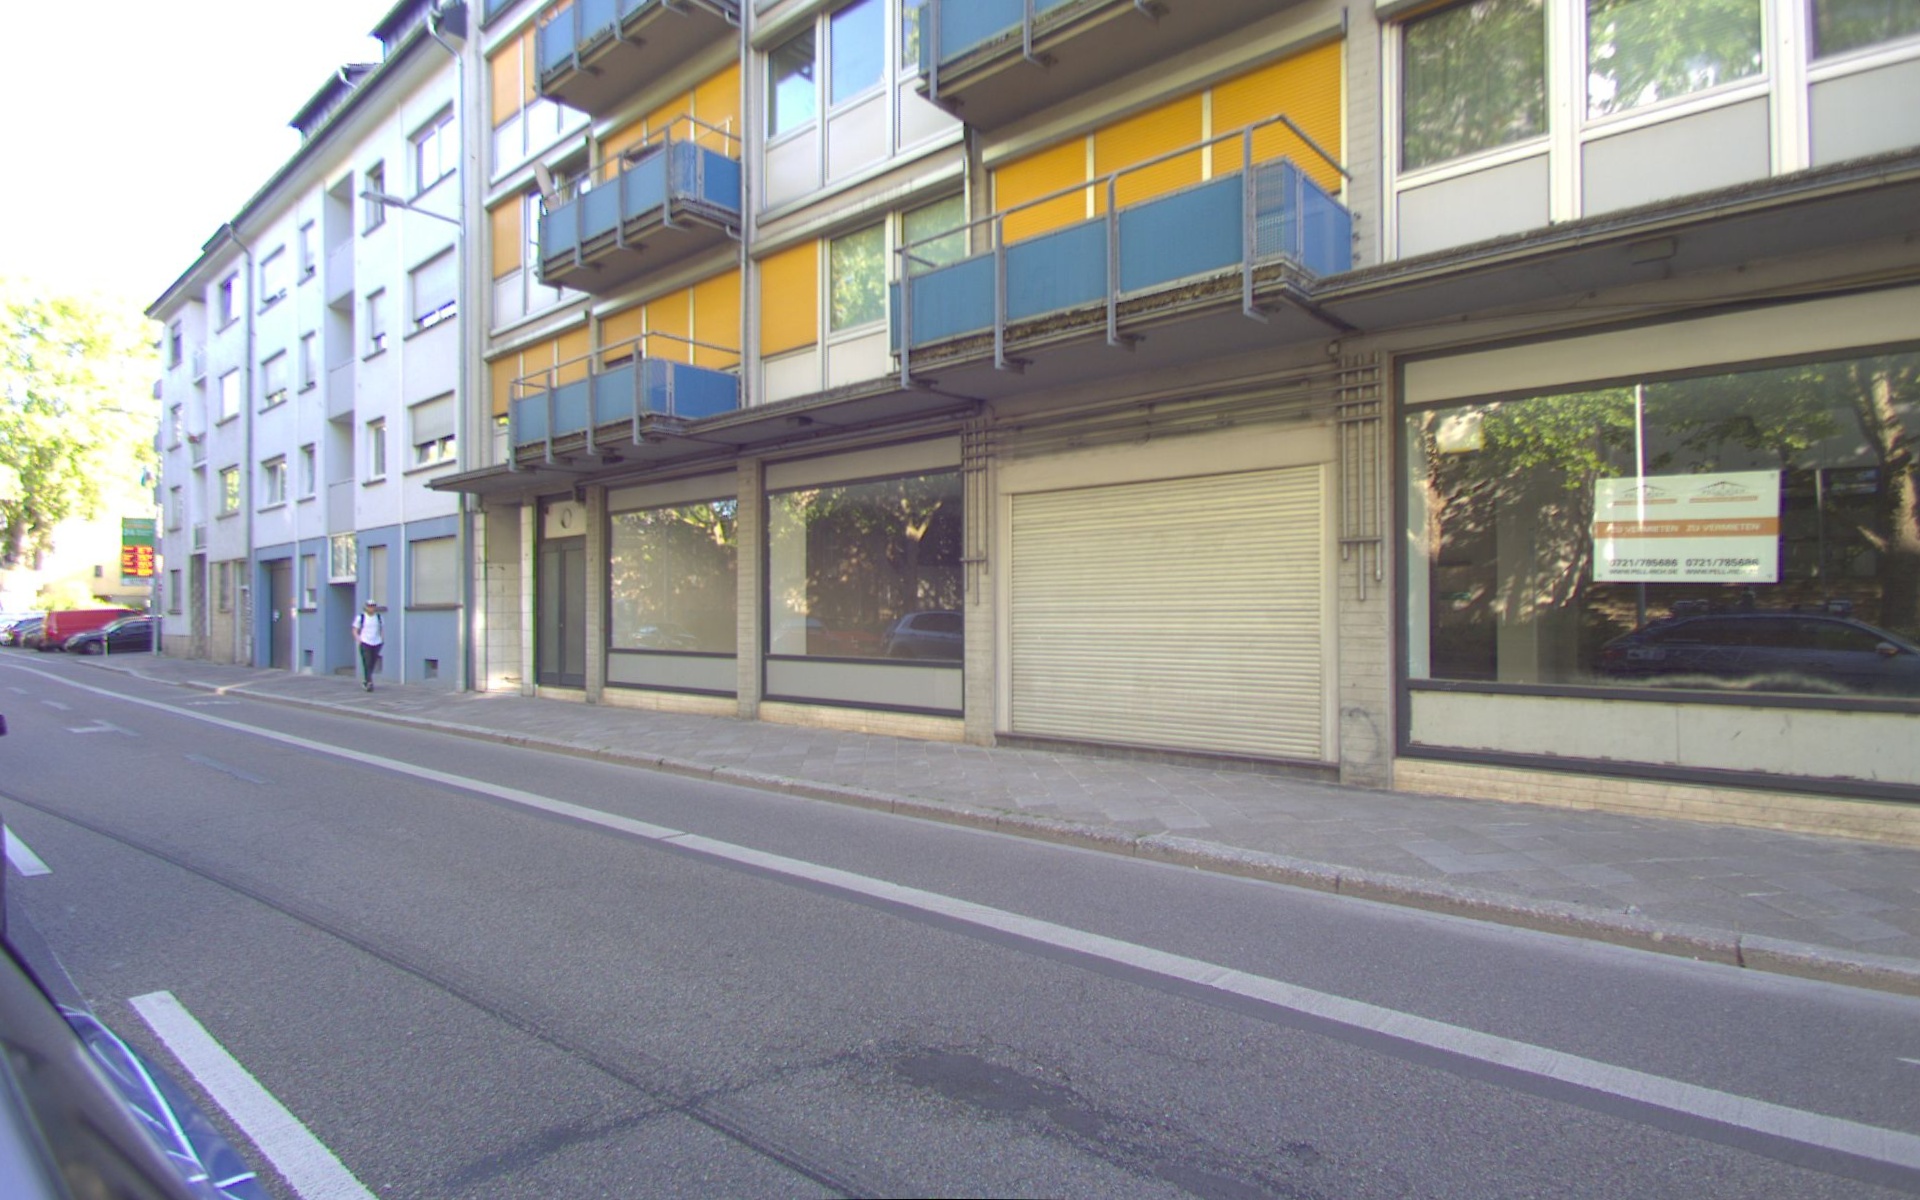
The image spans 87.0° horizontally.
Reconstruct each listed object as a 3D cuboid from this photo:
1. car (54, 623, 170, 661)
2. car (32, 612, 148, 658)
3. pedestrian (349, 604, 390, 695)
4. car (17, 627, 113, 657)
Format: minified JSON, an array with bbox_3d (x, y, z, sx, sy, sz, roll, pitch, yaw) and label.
[{"bbox_3d":[-36.656,1.774,43.805,1.635,1.422,3.623,-1,0,41],"label":"car"},{"bbox_3d":[-40.623,1.590,47.323,1.635,1.937,3.878,-1,0,41],"label":"car"},{"bbox_3d":[-11.590,0.960,19.869,0.343,1.739,0.562,-2,0,41],"label":"pedestrian"},{"bbox_3d":[-42.958,2.005,48.604,1.294,1.258,3.283,-1,0,41],"label":"car"}]
